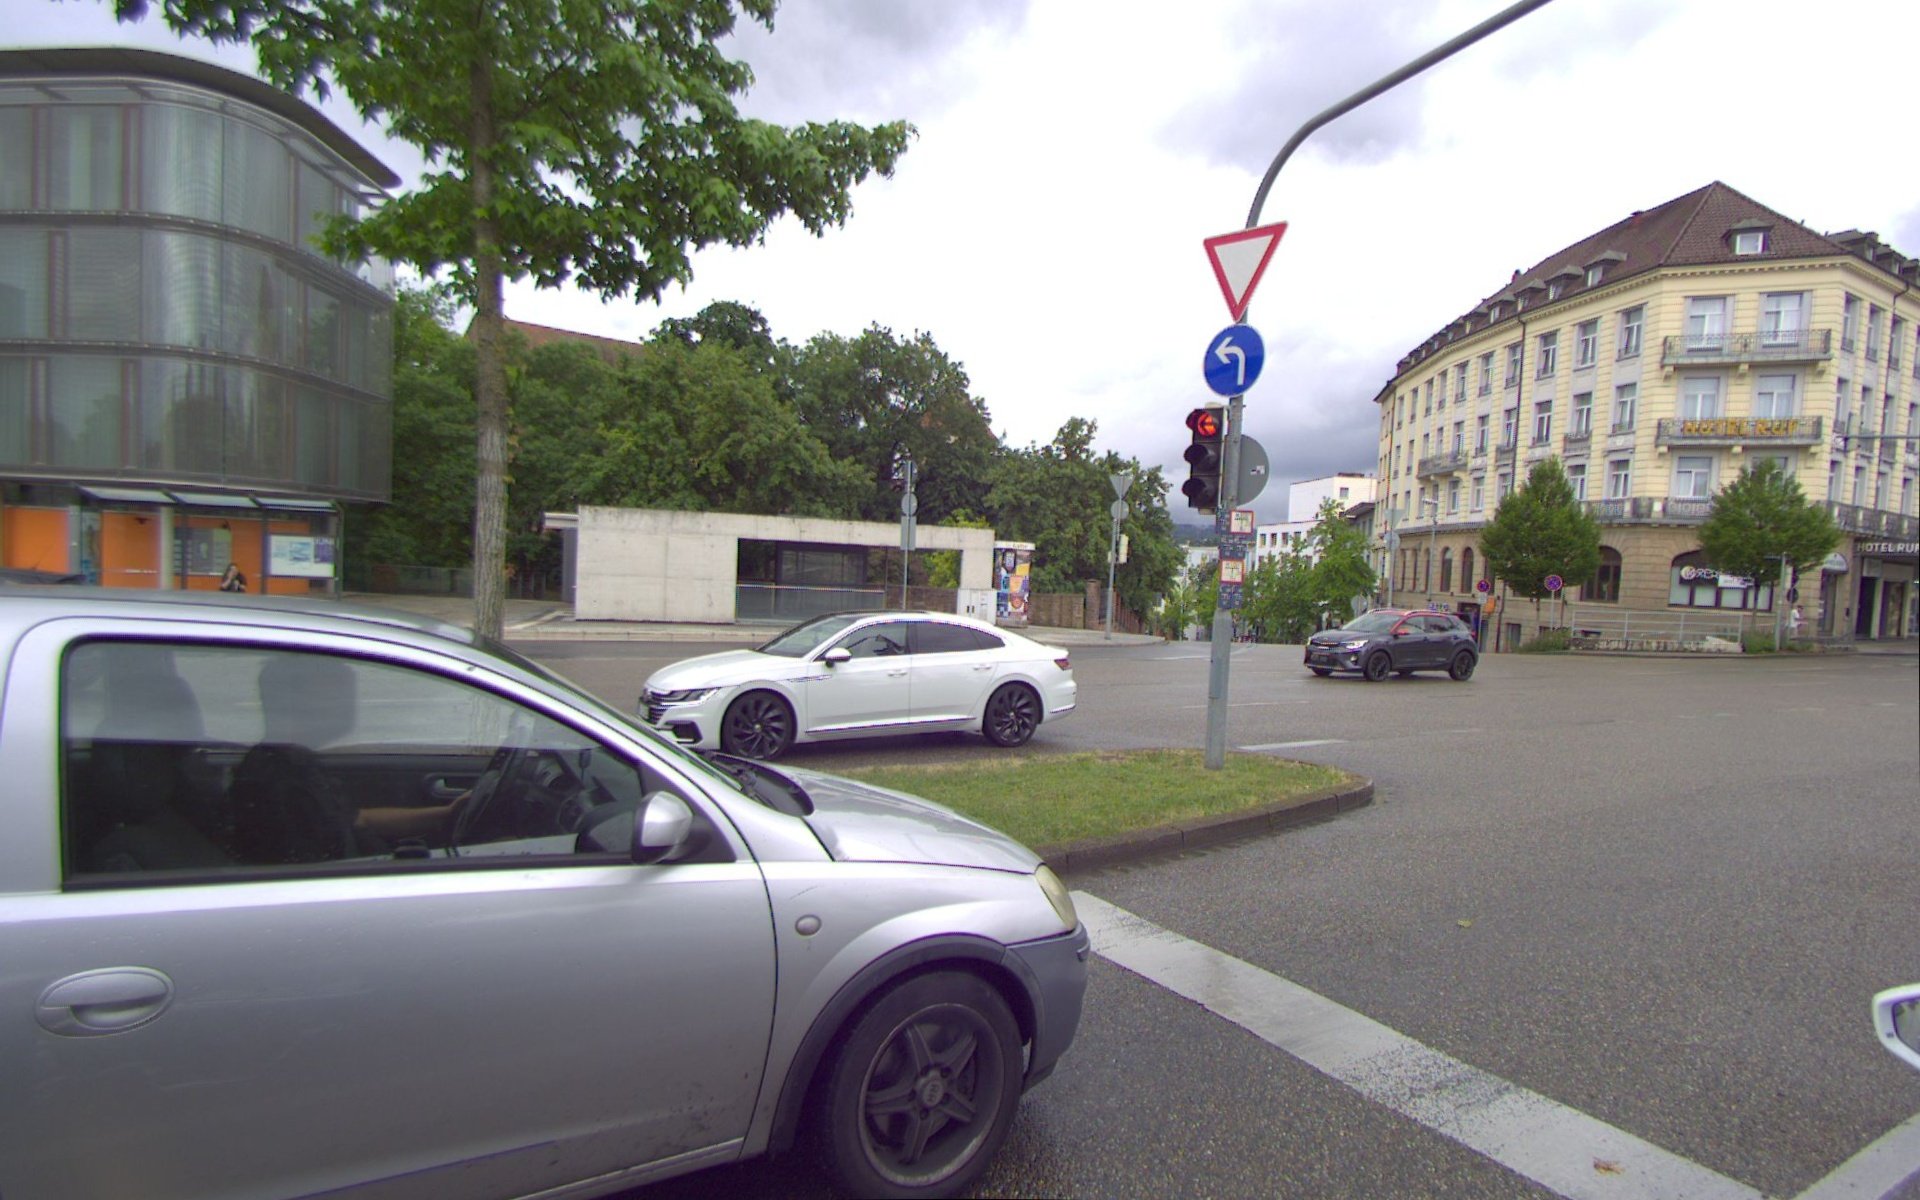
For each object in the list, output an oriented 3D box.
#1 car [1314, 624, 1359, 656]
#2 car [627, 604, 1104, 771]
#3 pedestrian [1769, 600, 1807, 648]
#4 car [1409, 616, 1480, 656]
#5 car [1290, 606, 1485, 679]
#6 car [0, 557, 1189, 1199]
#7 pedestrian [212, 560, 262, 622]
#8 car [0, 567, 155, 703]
[{"bbox_3d":[23.582,2.479,63.039,1.741,1.836,3.624,2,1,7],"label":"car"},{"bbox_3d":[-0.915,0.795,10.739,4.801,1.400,1.716,1,2,-30],"label":"car"},{"bbox_3d":[33.942,0.978,41.178,1.010,1.903,0.859,1,1,-30],"label":"pedestrian"},{"bbox_3d":[21.731,1.577,45.180,1.764,1.589,4.002,2,1,9],"label":"car"},{"bbox_3d":[9.423,0.937,22.153,3.966,1.496,1.628,2,-2,-21],"label":"car"},{"bbox_3d":[-1.389,0.668,2.402,3.694,1.478,1.614,2,1,-32],"label":"car"},{"bbox_3d":[-16.087,-0.193,22.371,0.780,1.341,0.798,1,1,-28],"label":"pedestrian"},{"bbox_3d":[-12.176,0.361,11.748,4.029,1.551,1.763,2,1,-29],"label":"car"}]
